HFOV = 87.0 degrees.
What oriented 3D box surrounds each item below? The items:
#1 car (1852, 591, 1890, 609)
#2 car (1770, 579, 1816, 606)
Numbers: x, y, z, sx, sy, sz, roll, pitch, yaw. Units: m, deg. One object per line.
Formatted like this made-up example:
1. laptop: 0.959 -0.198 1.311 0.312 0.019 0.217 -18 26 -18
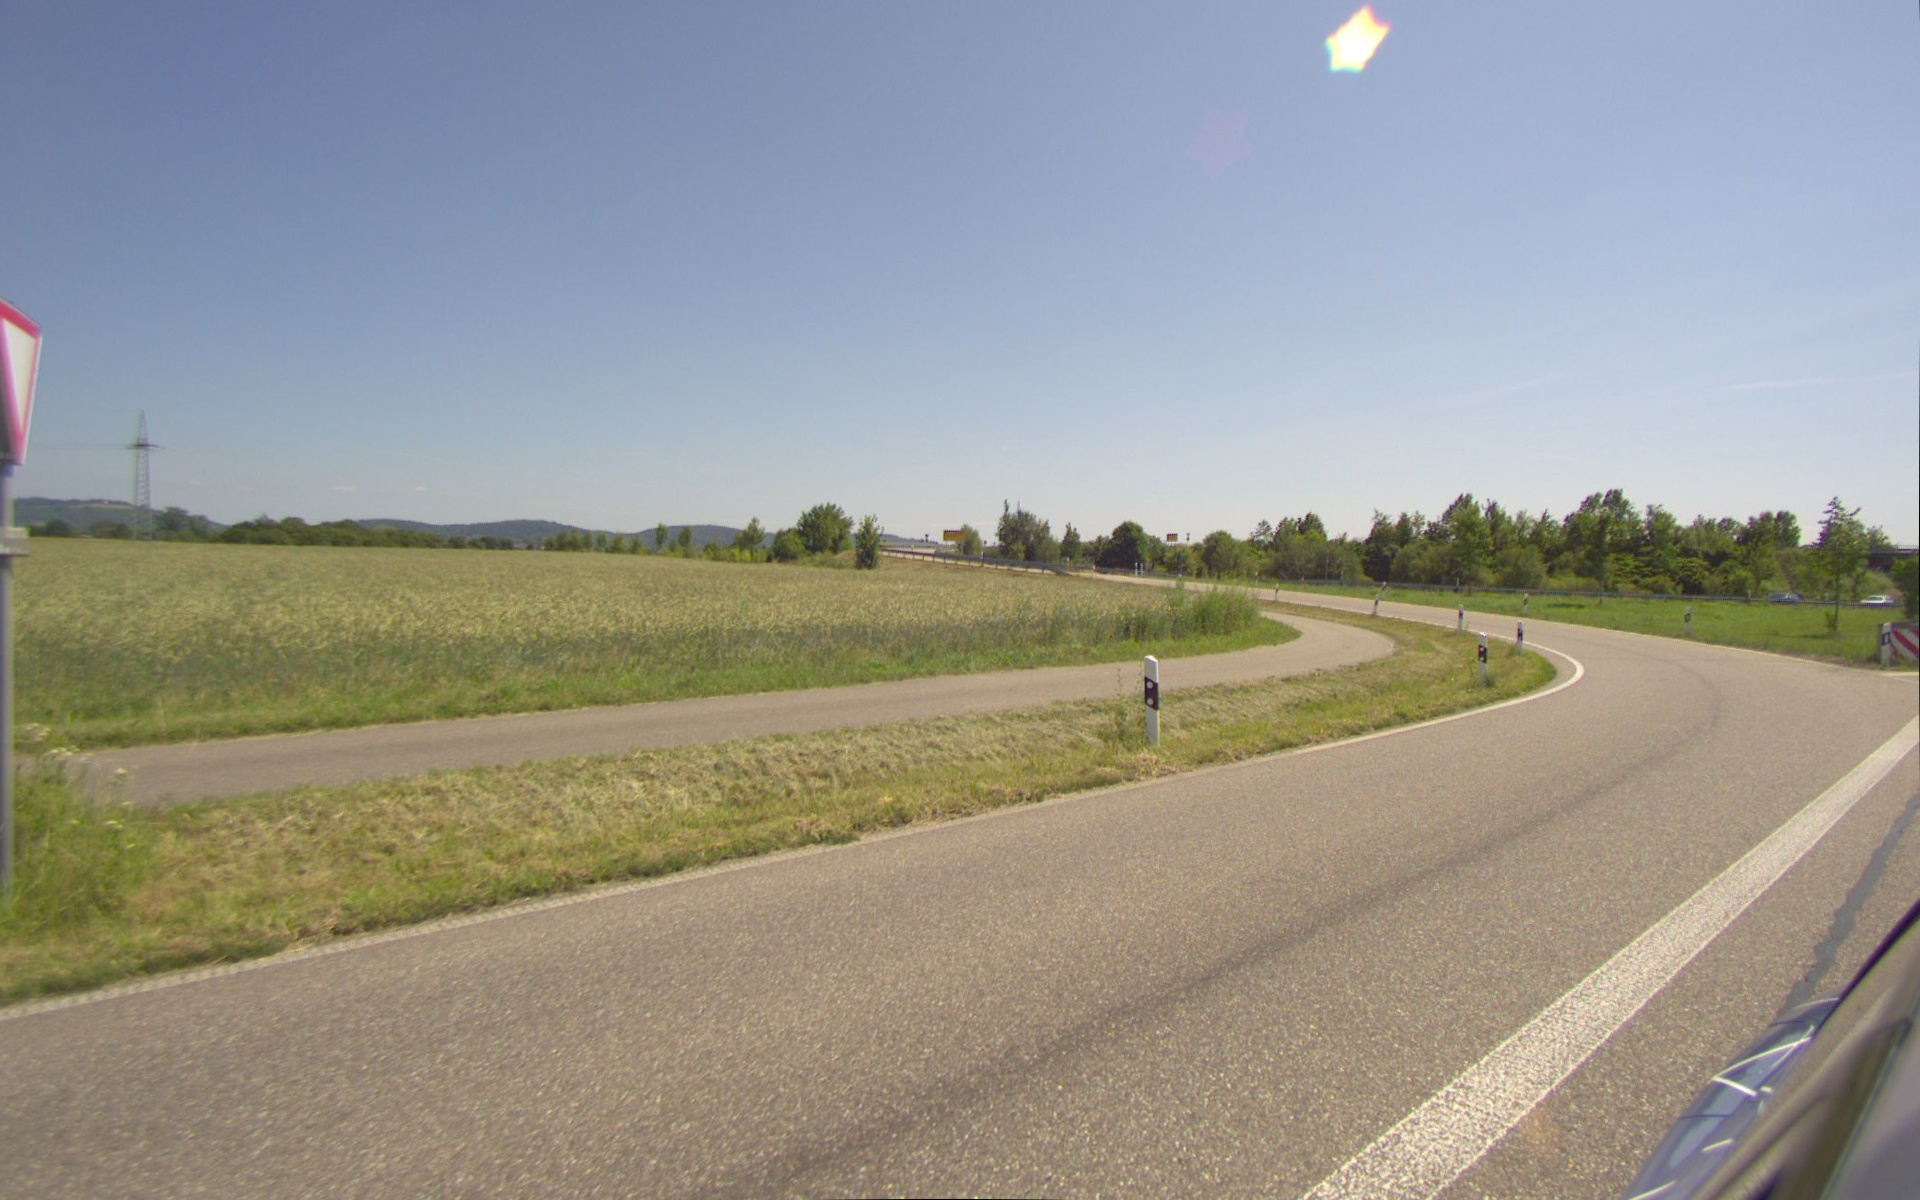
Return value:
1. car: 89.412 -0.031 99.328 3.925 1.705 2.000 -1 1 -36
2. car: 69.339 -0.623 84.226 3.648 2.038 1.798 1 3 -31
